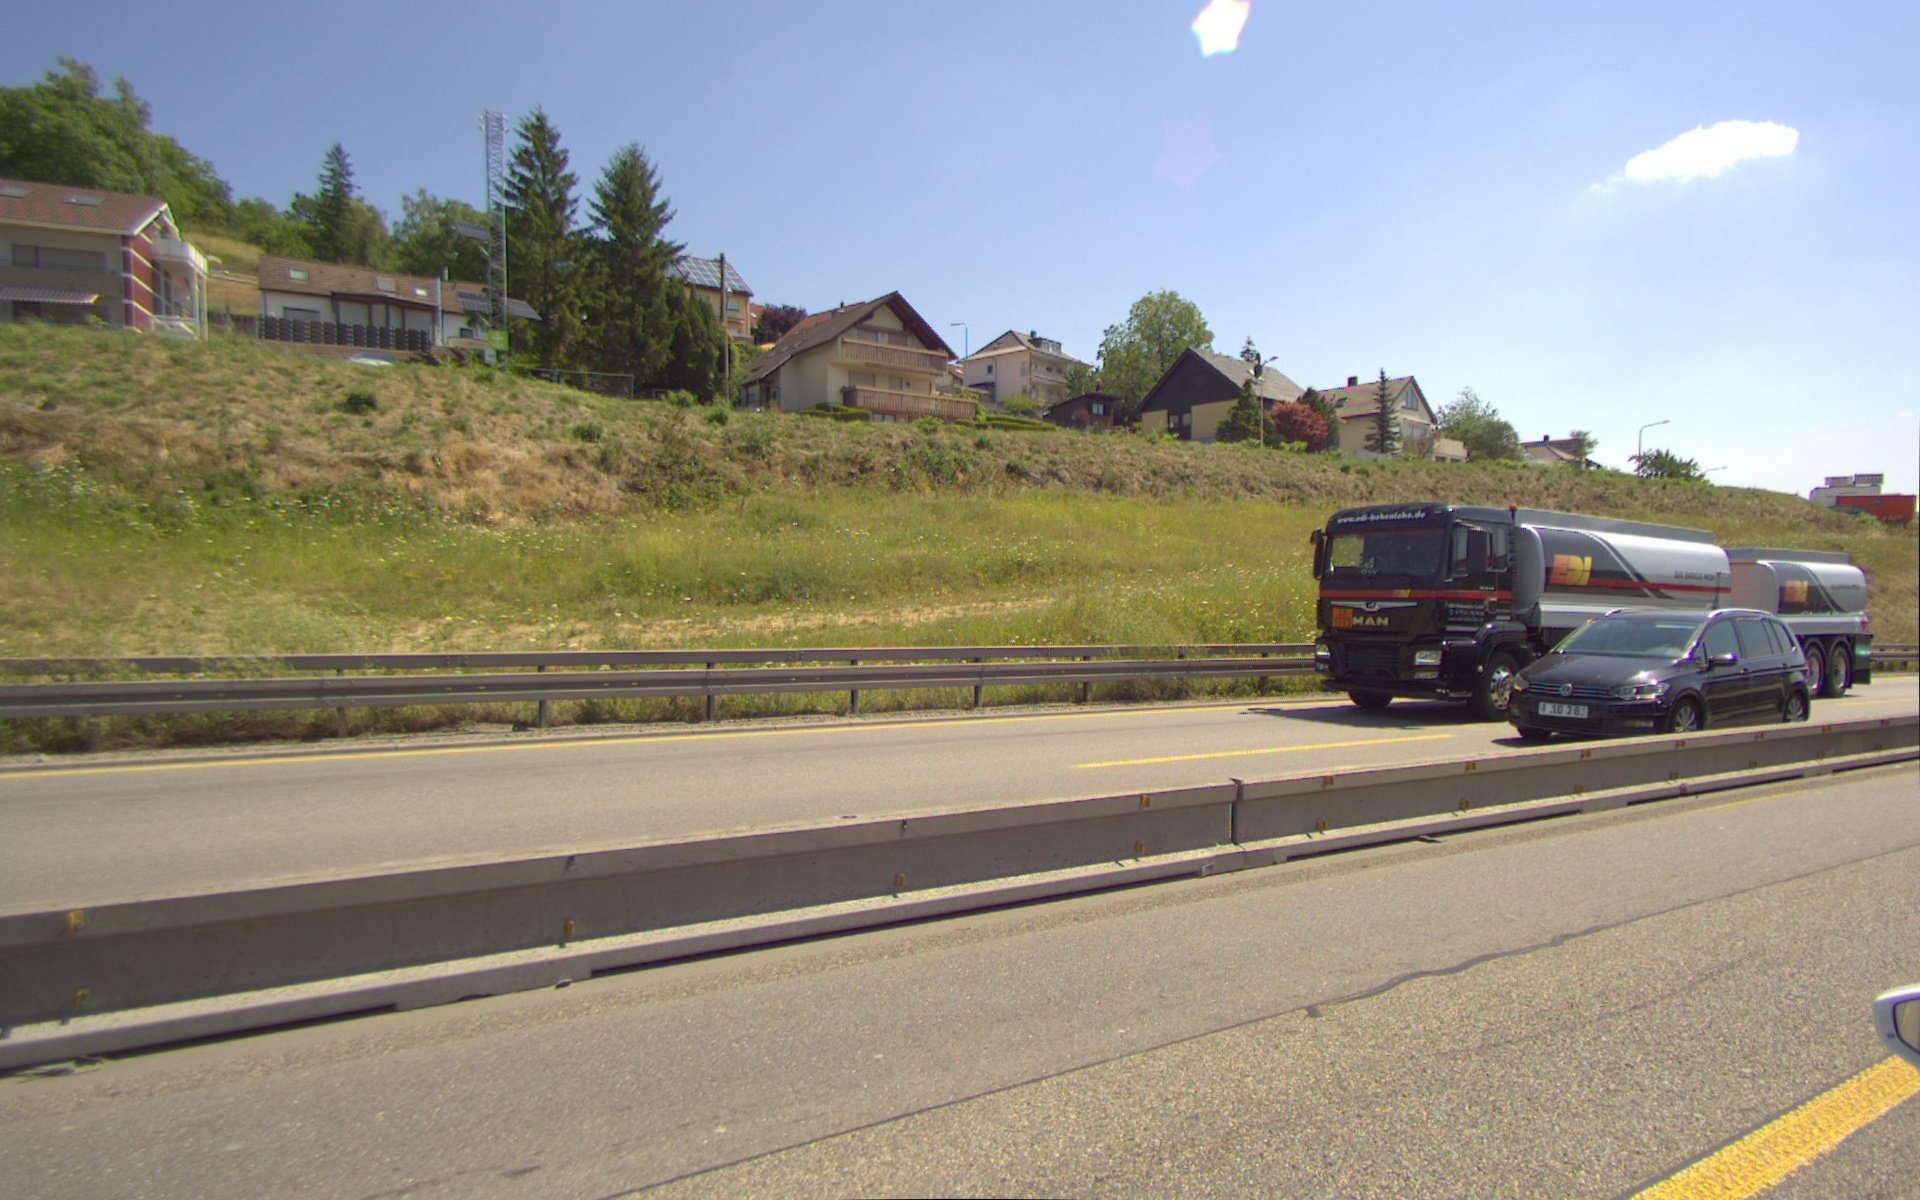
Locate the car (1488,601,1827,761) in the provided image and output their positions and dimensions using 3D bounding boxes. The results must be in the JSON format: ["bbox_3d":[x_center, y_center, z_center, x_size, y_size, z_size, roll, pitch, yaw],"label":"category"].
[{"bbox_3d":[8.610,0.880,12.306,4.447,1.657,1.710,1,0,-31],"label":"car"}]

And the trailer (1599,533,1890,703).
[{"bbox_3d":[16.259,0.368,20.725,6.296,3.041,2.600,1,0,-31],"label":"trailer"}]

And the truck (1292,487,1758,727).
[{"bbox_3d":[9.687,0.167,16.788,8.855,3.185,2.713,1,0,-31],"label":"truck"}]
